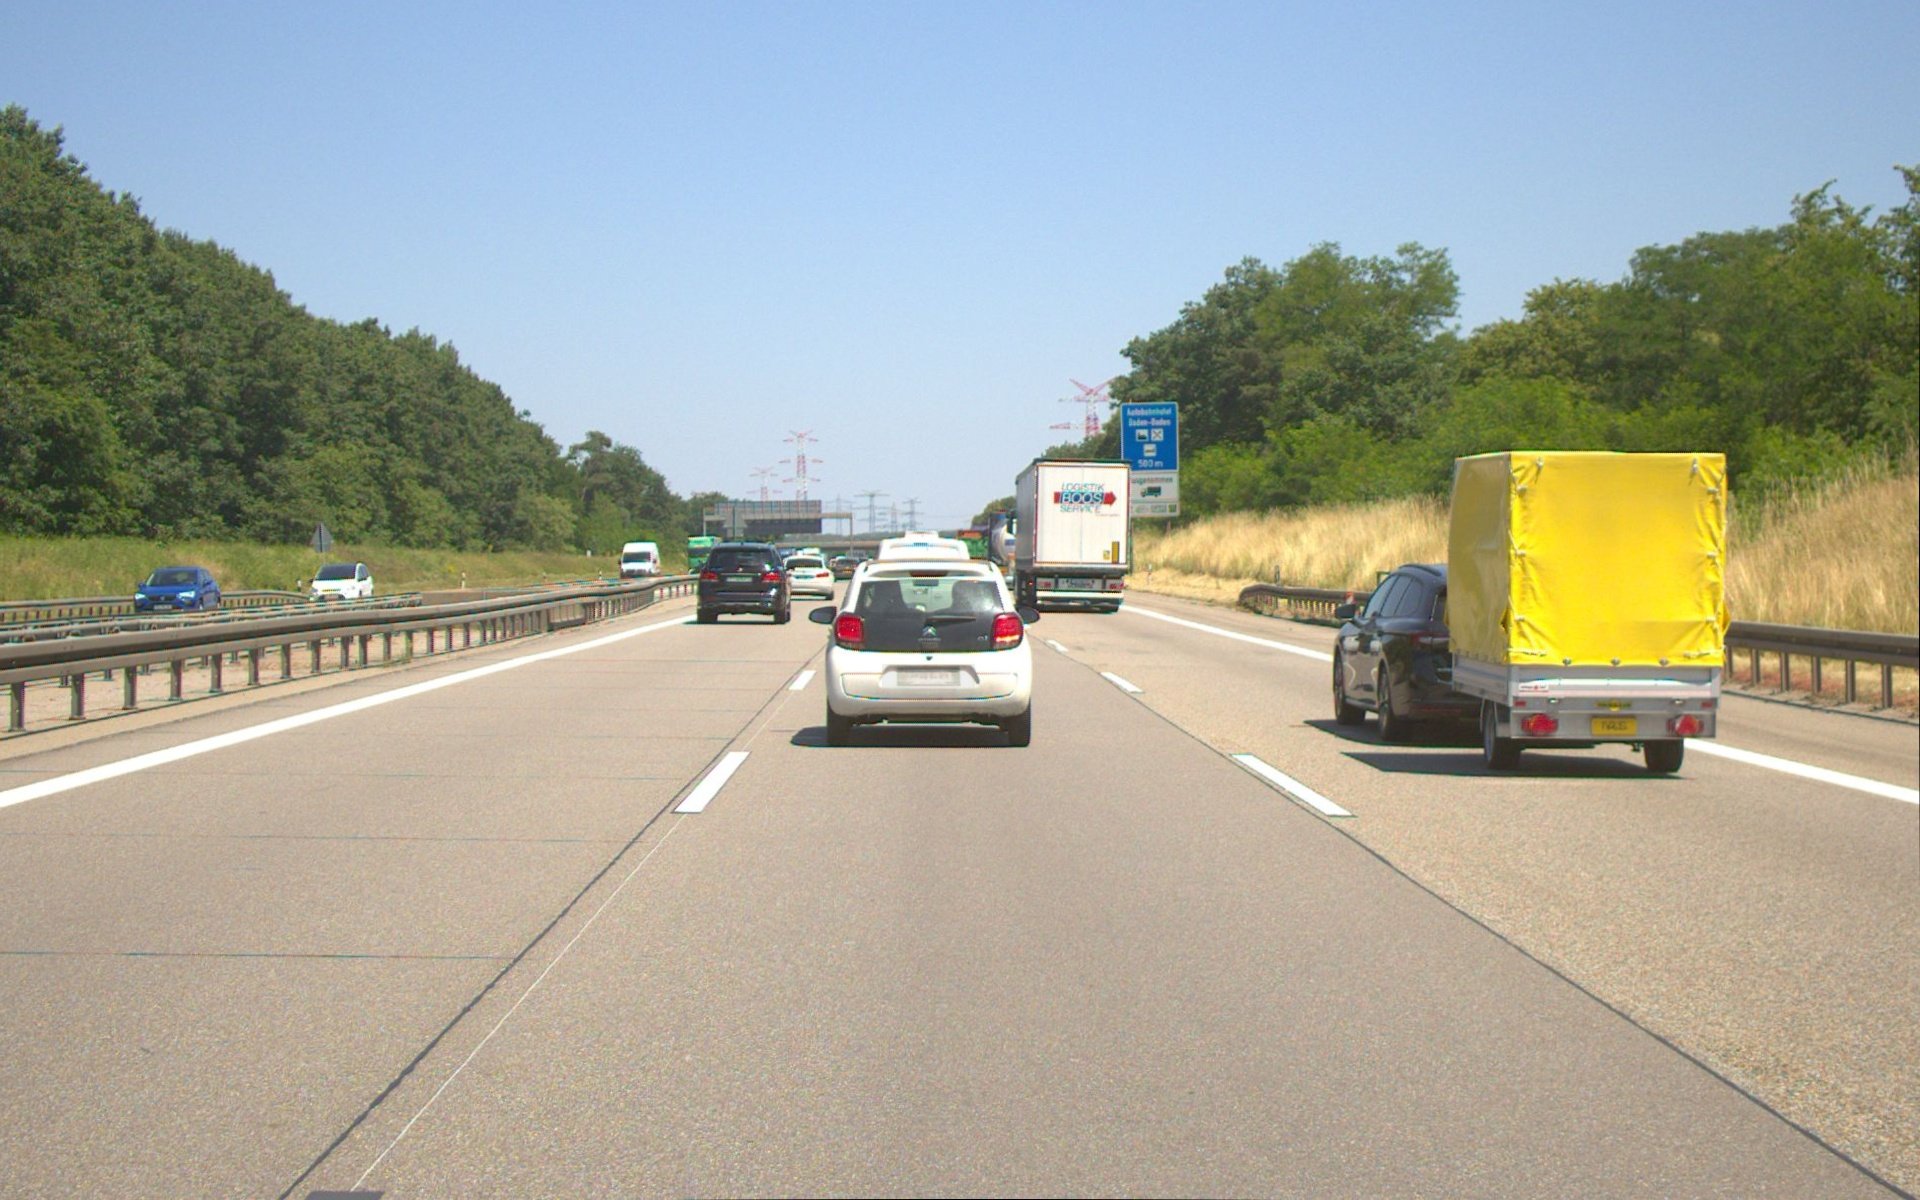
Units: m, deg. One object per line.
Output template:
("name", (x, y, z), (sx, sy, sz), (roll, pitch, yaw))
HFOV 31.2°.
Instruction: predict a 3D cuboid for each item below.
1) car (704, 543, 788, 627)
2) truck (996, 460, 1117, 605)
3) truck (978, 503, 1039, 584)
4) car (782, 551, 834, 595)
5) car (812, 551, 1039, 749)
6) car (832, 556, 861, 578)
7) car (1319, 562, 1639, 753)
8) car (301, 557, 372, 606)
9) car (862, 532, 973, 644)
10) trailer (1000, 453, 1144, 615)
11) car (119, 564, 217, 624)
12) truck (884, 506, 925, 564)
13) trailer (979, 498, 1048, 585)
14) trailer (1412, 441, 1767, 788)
("car", (-4.653, -0.347, 75.068), (1.626, 1.749, 3.805), (1, 1, -1))
("truck", (2.885, -2.016, 104.314), (3.285, 4.205, 6.008), (1, 0, -1))
("truck", (2.314, -2.707, 165.672), (2.682, 3.824, 4.444), (1, 0, -1))
("car", (-4.984, -0.911, 113.123), (1.669, 1.396, 3.713), (0, 1, -2))
("car", (-0.292, 0.351, 28.127), (1.708, 1.490, 4.024), (1, 1, -1))
("car", (-6.591, -1.925, 199.912), (1.607, 1.296, 3.674), (1, 1, -1))
("car", (4.284, 0.422, 29.116), (1.821, 1.451, 4.789), (1, 1, -2))
("car", (-22.815, -0.685, 125.941), (1.702, 1.655, 5.117), (-3, 1, -1))
("car", (-0.753, -0.222, 58.890), (1.814, 1.821, 5.111), (0, 0, -1))
("trailer", (3.030, -1.793, 97.542), (3.285, 4.205, 13.566), (1, 0, -1))
("car", (-22.351, -0.193, 97.147), (1.702, 1.540, 4.535), (-3, 1, -1))
("truck", (-2.855, -3.305, 176.332), (2.060, 2.904, 7.003), (0, 0, -1))
("trailer", (2.444, -2.658, 159.975), (2.682, 3.824, 12.011), (1, 0, -1))
("trailer", (4.437, 0.072, 24.776), (1.703, 2.282, 3.840), (1, 1, -2))
